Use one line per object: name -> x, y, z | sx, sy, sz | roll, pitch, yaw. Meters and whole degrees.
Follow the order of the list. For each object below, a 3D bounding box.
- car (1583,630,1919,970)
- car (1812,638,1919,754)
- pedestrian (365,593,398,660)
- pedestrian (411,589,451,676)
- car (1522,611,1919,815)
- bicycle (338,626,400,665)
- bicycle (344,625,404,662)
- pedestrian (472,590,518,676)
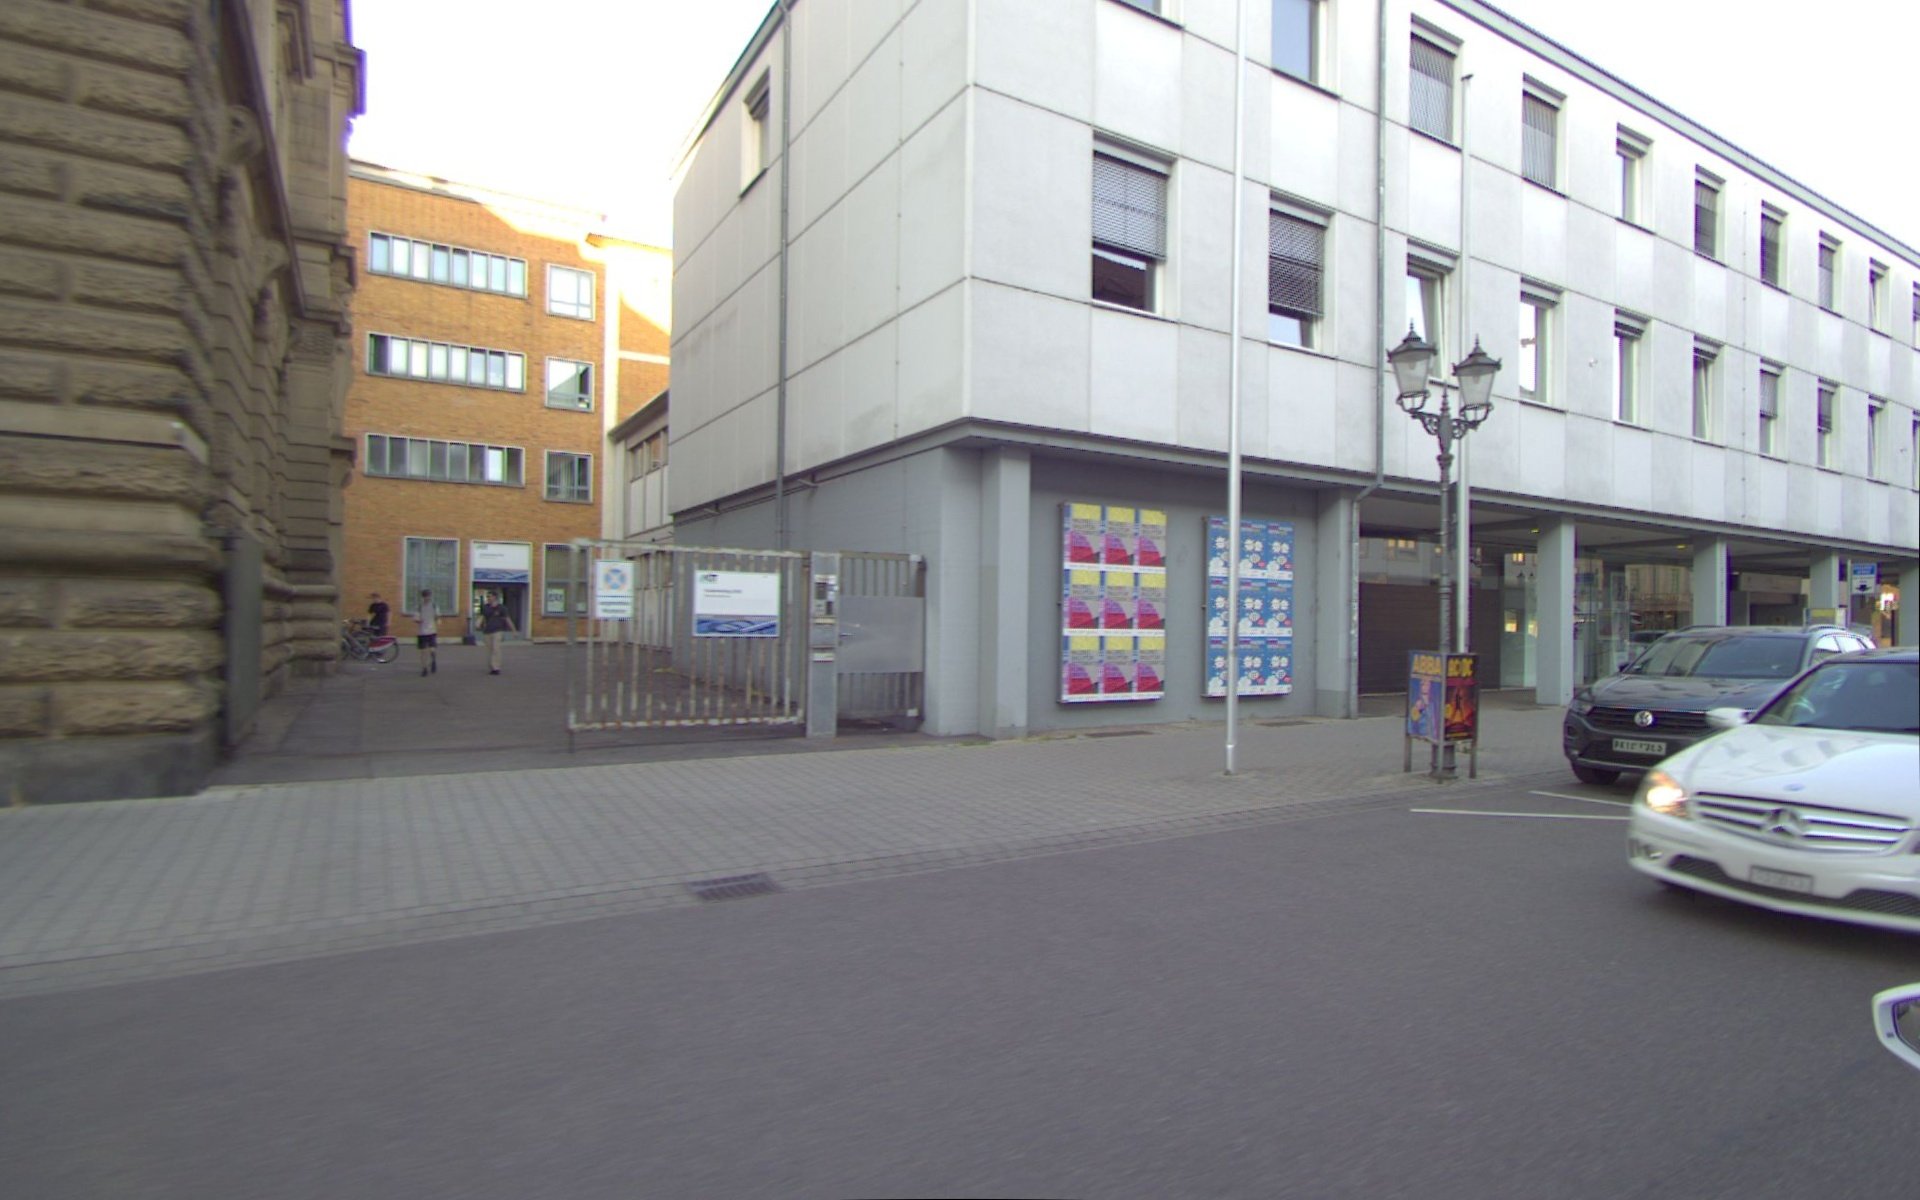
car -> 5.558, 0.904, 5.708 | 4.040, 1.427, 1.776 | 1, -2, -30
car -> 13.634, 1.257, 13.761 | 4.040, 1.427, 1.776 | 1, -2, -30
pedestrian -> -16.056, 0.724, 27.901 | 0.599, 1.828, 0.700 | 1, -1, -16
pedestrian -> -11.298, 0.685, 21.461 | 0.599, 1.828, 0.700 | 1, -1, -16
car -> 7.598, 0.972, 9.917 | 4.117, 1.636, 1.776 | 1, -2, -31
bicycle -> -14.976, 1.159, 25.487 | 1.339, 0.965, 0.373 | 1, -1, -29
bicycle -> -15.531, 1.144, 26.644 | 1.339, 0.965, 0.373 | 1, -1, -29
pedestrian -> -10.066, 0.711, 21.766 | 0.765, 1.828, 0.700 | 1, -1, -16
